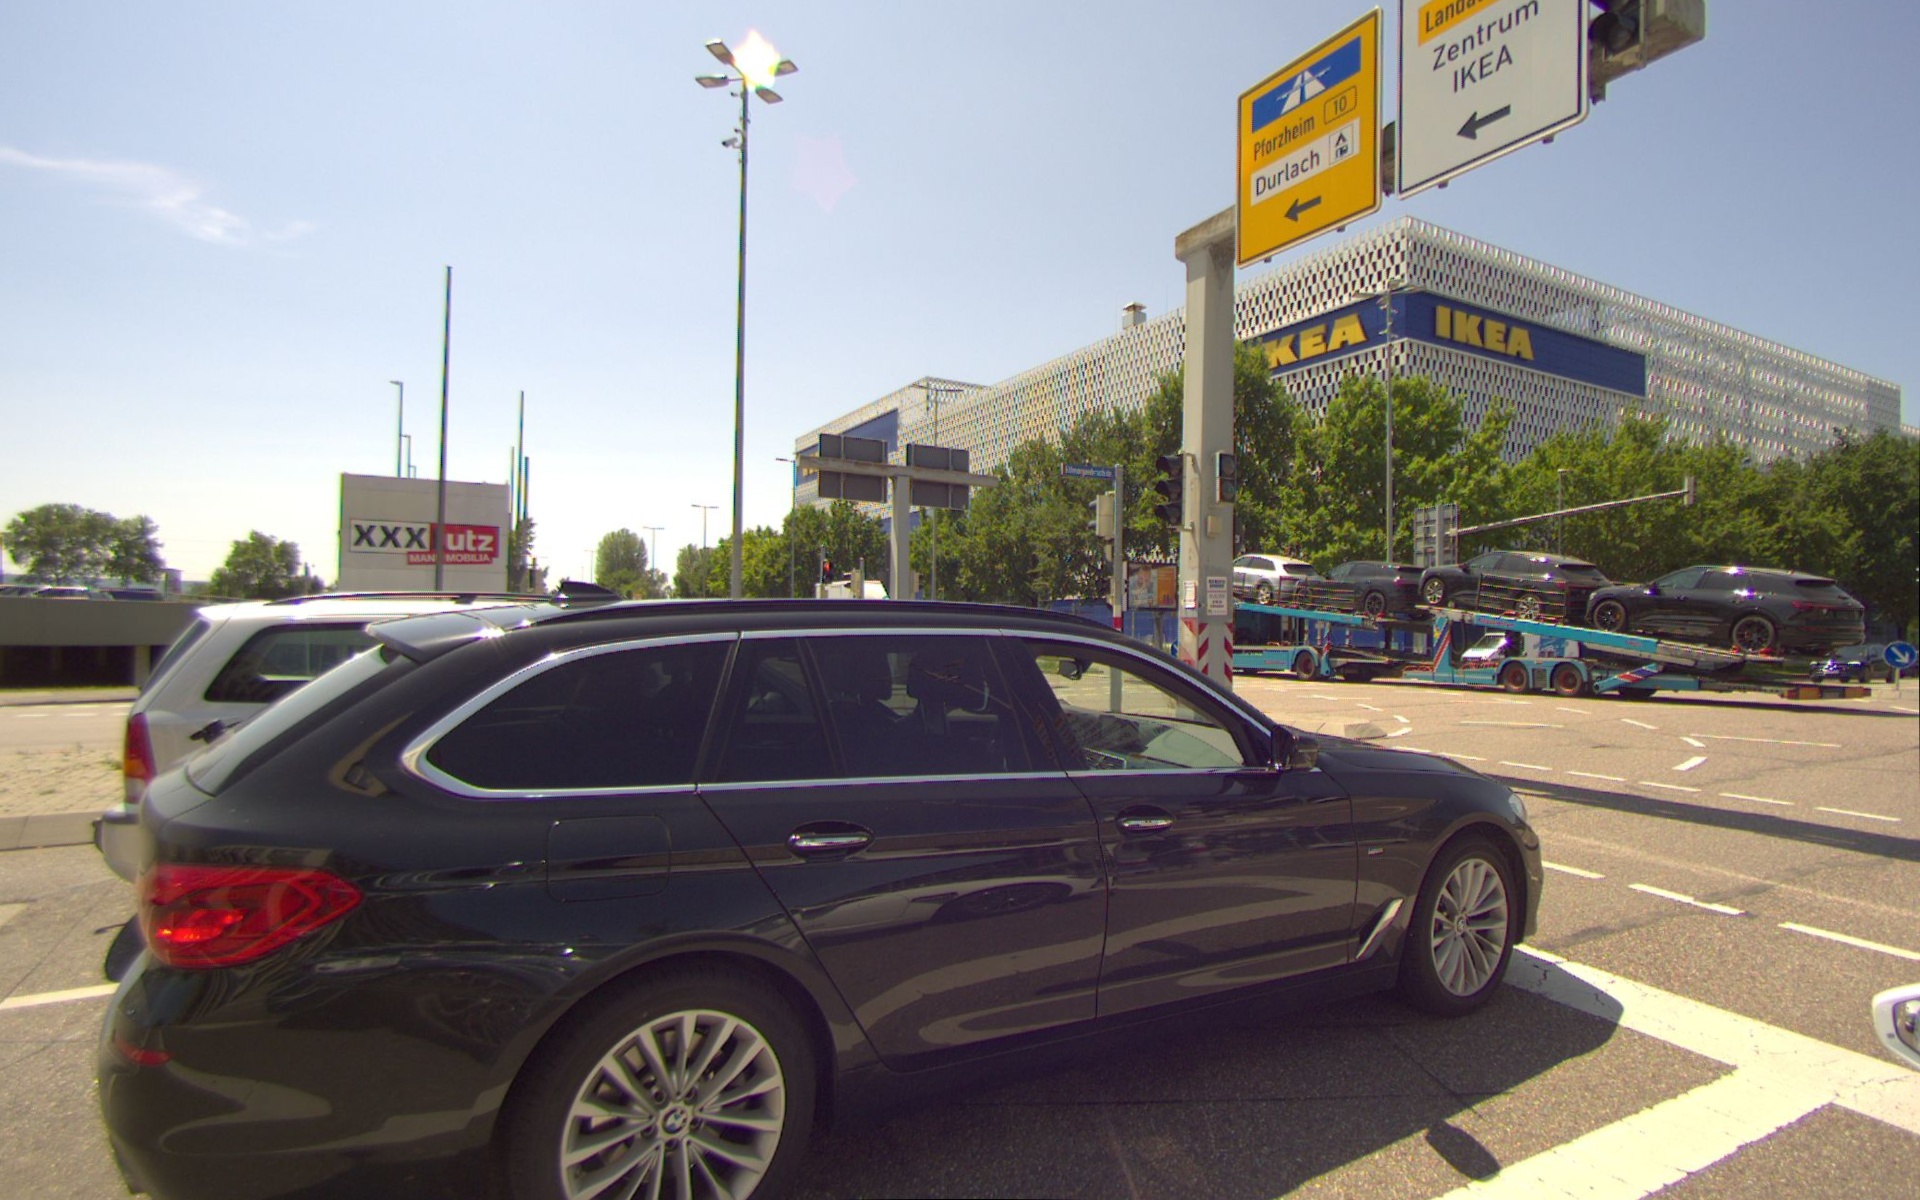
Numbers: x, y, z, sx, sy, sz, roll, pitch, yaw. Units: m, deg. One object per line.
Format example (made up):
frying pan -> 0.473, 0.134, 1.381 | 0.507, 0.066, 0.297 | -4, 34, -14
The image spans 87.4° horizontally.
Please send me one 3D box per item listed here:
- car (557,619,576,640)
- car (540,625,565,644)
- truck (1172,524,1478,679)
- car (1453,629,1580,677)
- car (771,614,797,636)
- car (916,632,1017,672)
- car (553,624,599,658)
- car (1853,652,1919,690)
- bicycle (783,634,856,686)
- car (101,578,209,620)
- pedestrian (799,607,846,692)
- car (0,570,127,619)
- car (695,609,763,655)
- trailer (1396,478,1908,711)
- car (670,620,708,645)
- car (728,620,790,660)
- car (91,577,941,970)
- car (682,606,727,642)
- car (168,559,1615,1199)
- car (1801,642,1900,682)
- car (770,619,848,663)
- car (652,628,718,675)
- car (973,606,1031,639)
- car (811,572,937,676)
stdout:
car -> -39.821, 3.006, 101.671 | 1.594, 2.040, 3.863 | 1, -1, -20
car -> -36.565, 3.082, 90.155 | 1.718, 1.708, 3.642 | 1, -2, -28
truck -> 11.097, 0.154, 32.370 | 3.055, 4.136, 10.600 | 2, -1, -21
car -> 24.368, 2.318, 44.046 | 4.680, 2.034, 1.996 | 1, -2, -11
car -> -17.324, 2.470, 98.904 | 1.858, 2.040, 3.983 | 2, -2, -19
car -> 0.172, 1.839, 36.639 | 1.756, 1.360, 4.262 | 1, -2, -30
car -> -24.133, 2.553, 63.047 | 1.815, 2.040, 3.963 | 2, -2, -34
car -> 54.122, 4.155, 58.368 | 3.948, 2.040, 1.987 | 4, -3, -26
bicycle -> -3.529, 1.480, 25.086 | 0.987, 1.229, 2.079 | 1, -2, -35
car -> -40.298, -0.003, 50.404 | 3.956, 1.933, 1.983 | 2, -2, -32
pedestrian -> -3.415, 1.216, 24.927 | 0.856, 2.040, 0.899 | 1, -2, -35
car -> -38.848, -0.217, 43.478 | 3.953, 1.957, 1.984 | 2, -2, -30
car -> -13.898, 1.911, 60.021 | 2.542, 2.568, 6.587 | 2, -2, -26
trailer -> 14.788, 0.010, 22.898 | 3.049, 4.135, 9.596 | 2, -1, -21
car -> -21.680, 2.598, 80.213 | 1.975, 1.930, 4.778 | 1, -1, -28
car -> -10.668, 2.099, 52.983 | 1.975, 2.040, 4.681 | 2, -2, -27
car -> -2.241, 0.719, 5.771 | 3.961, 1.514, 1.785 | 2, -1, -36
car -> -17.604, 1.653, 69.067 | 1.972, 2.318, 5.848 | 1, -2, -24
car -> 0.212, 0.722, 3.605 | 4.570, 1.485, 1.791 | 1, -1, -31
car -> 37.818, 2.612, 42.657 | 4.444, 1.619, 1.866 | 2, -3, -30
car -> -6.828, 1.814, 45.011 | 1.973, 1.835, 5.438 | 1, -2, -25
car -> -9.596, 1.759, 34.884 | 1.904, 1.528, 3.982 | 1, -2, -20
car -> 2.611, 1.403, 63.519 | 1.974, 2.040, 3.972 | 1, -1, -27
car -> -3.378, 0.887, 37.587 | 2.156, 3.532, 6.875 | 0, -1, -28
